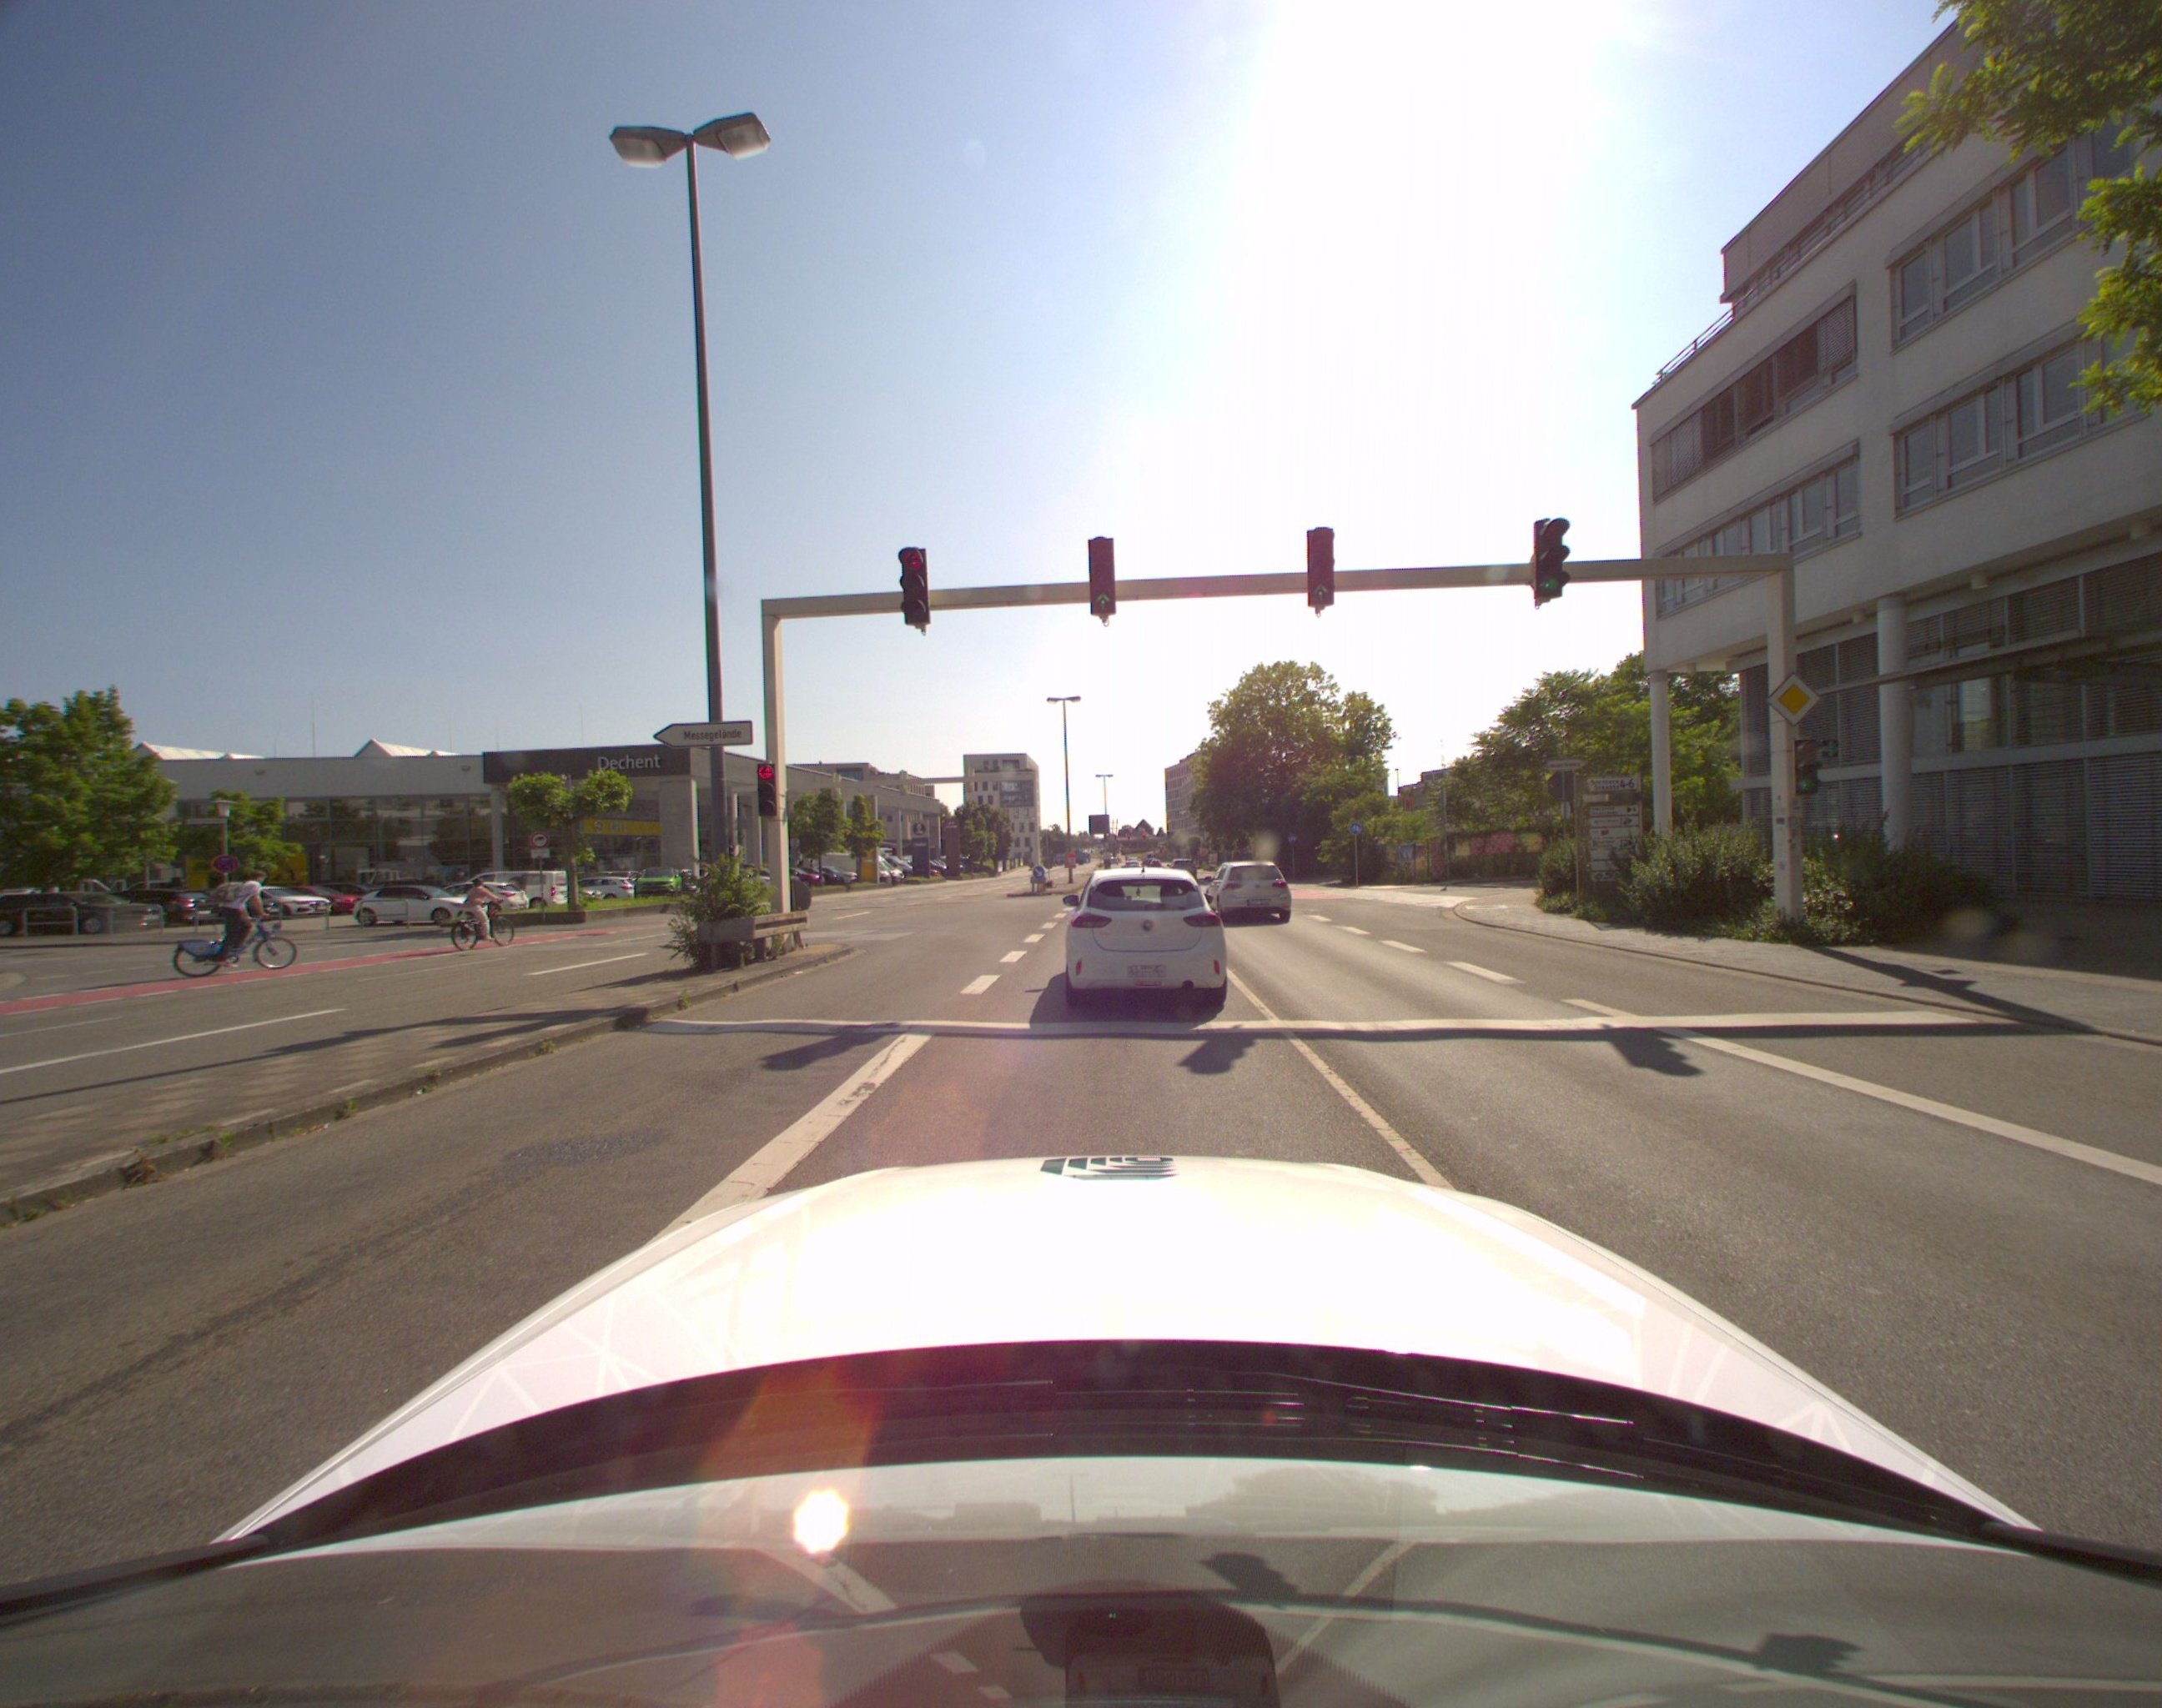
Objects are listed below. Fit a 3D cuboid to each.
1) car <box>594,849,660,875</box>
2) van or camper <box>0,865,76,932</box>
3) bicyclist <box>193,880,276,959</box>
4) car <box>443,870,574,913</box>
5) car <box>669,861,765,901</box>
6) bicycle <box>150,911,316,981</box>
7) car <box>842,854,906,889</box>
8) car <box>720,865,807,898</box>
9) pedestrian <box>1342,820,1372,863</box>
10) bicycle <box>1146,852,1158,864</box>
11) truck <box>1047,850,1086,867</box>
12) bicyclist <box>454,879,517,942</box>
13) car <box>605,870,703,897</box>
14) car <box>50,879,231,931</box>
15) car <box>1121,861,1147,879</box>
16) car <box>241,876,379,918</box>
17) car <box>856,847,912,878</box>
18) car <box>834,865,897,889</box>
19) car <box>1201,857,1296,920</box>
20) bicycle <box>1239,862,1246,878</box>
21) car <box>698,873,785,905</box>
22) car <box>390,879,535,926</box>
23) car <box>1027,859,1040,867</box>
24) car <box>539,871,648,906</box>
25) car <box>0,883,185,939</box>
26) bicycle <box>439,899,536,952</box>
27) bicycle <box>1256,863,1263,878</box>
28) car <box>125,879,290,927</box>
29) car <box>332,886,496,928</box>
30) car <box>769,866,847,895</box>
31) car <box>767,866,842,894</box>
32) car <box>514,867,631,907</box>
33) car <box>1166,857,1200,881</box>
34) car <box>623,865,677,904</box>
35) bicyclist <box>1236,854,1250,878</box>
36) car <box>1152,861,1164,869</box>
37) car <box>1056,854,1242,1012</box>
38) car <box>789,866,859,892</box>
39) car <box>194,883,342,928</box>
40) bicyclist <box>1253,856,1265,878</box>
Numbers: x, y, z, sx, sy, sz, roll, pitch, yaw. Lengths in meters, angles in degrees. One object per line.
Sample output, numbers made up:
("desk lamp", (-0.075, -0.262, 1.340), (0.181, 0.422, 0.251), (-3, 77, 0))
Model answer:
("car", (-35.455, 0.626, 63.723), (3.976, 2.014, 1.999), (0, -1, -2))
("van or camper", (-41.242, 1.694, 30.320), (4.709, 2.400, 1.996), (-2, -1, -6))
("bicyclist", (-16.672, 1.261, 16.050), (0.760, 1.460, 1.033), (-3, -1, 37))
("car", (-25.745, 1.654, 36.773), (4.351, 1.696, 1.996), (-2, -1, -6))
("car", (-18.305, 1.356, 41.096), (3.857, 1.838, 2.000), (-2, -1, 0))
("bicycle", (-16.654, 1.771, 16.054), (0.760, 1.116, 2.175), (-2, -1, 36))
("car", (-16.941, 1.407, 66.693), (4.467, 2.684, 2.135), (-2, -1, 11))
("car", (-18.656, 1.617, 48.039), (4.282, 1.765, 2.000), (-2, -1, 0))
("pedestrian", (13.300, -0.610, 39.269), (1.023, 2.014, 1.039), (-2, -1, 2))
("bicycle", (13.323, 0.762, 153.242), (1.985, 2.158, 4.003), (-2, -1, 3))
("truck", (-3.560, 0.997, 198.664), (9.059, 3.835, 3.071), (-2, -1, -10))
("bicyclist", (-14.701, 1.372, 20.133), (0.765, 1.460, 1.027), (-2, -1, 0))
("car", (-23.653, 1.657, 45.256), (4.350, 1.268, 1.996), (-3, -2, -5))
("car", (-35.496, 1.908, 30.837), (4.346, 1.696, 1.998), (-2, -1, -3))
("car", (4.419, 1.350, 68.195), (1.986, 1.447, 4.372), (-1, -1, 1))
("car", (-36.099, 1.986, 38.231), (4.350, 1.696, 1.996), (-2, -1, -6))
("car", (-17.420, 0.779, 72.142), (4.332, 2.601, 2.004), (-2, -1, 8))
("car", (-17.012, 1.786, 64.333), (4.332, 1.696, 2.004), (-2, -1, 8))
("car", (4.231, 0.839, 21.184), (1.800, 1.429, 4.003), (-2, -1, 3))
("bicycle", (12.545, 1.222, 63.150), (0.371, 1.216, 1.154), (0, -1, 3))
("car", (-18.836, 1.942, 45.332), (3.979, 1.599, 1.997), (-2, -1, -4))
("car", (-25.456, 1.965, 33.666), (4.346, 1.696, 1.998), (-2, -1, -3))
("car", (-8.194, 1.573, 140.794), (1.798, 1.386, 4.003), (0, -1, 3))
("car", (-25.179, 1.750, 42.194), (4.350, 1.591, 1.996), (-2, -1, -5))
("car", (-34.515, 1.941, 28.291), (4.346, 1.696, 1.998), (-2, -1, -3))
("bicycle", (-14.687, 1.736, 20.243), (0.765, 1.116, 2.162), (-2, -1, 1))
("bicycle", (13.706, 1.248, 62.539), (0.372, 1.147, 1.034), (0, -1, 1))
("car", (-35.403, 1.957, 33.101), (4.346, 1.696, 1.998), (-2, -1, -3))
("car", (-24.830, 1.941, 30.451), (4.346, 1.300, 1.998), (-2, -1, -3))
("car", (-17.750, 1.712, 53.150), (4.342, 1.696, 2.000), (-1, -1, 0))
("car", (-18.762, 1.758, 55.425), (4.342, 1.696, 2.000), (-2, -1, 0))
("car", (-24.664, 1.579, 39.637), (4.351, 1.696, 1.996), (-2, -1, -6))
("car", (7.157, 1.020, 57.417), (1.985, 1.551, 4.436), (-2, -1, 3))
("car", (-20.362, 1.455, 38.452), (1.914, 1.733, 3.259), (-1, -2, -34))
("bicyclist", (12.545, 0.938, 63.155), (0.875, 1.772, 0.864), (-2, -1, 3))
("car", (12.483, 1.784, 132.878), (1.798, 1.386, 4.003), (0, -1, 3))
("car", (0.768, 0.791, 9.973), (1.772, 1.494, 4.003), (-2, -1, 3))
("car", (-18.438, 1.768, 58.615), (4.342, 1.696, 2.000), (-2, -1, 0))
("car", (-35.703, 2.234, 35.872), (4.346, 1.696, 1.998), (-2, -1, -3))
("bicyclist", (13.669, 0.988, 62.572), (0.687, 1.643, 0.775), (-2, -1, -5))
